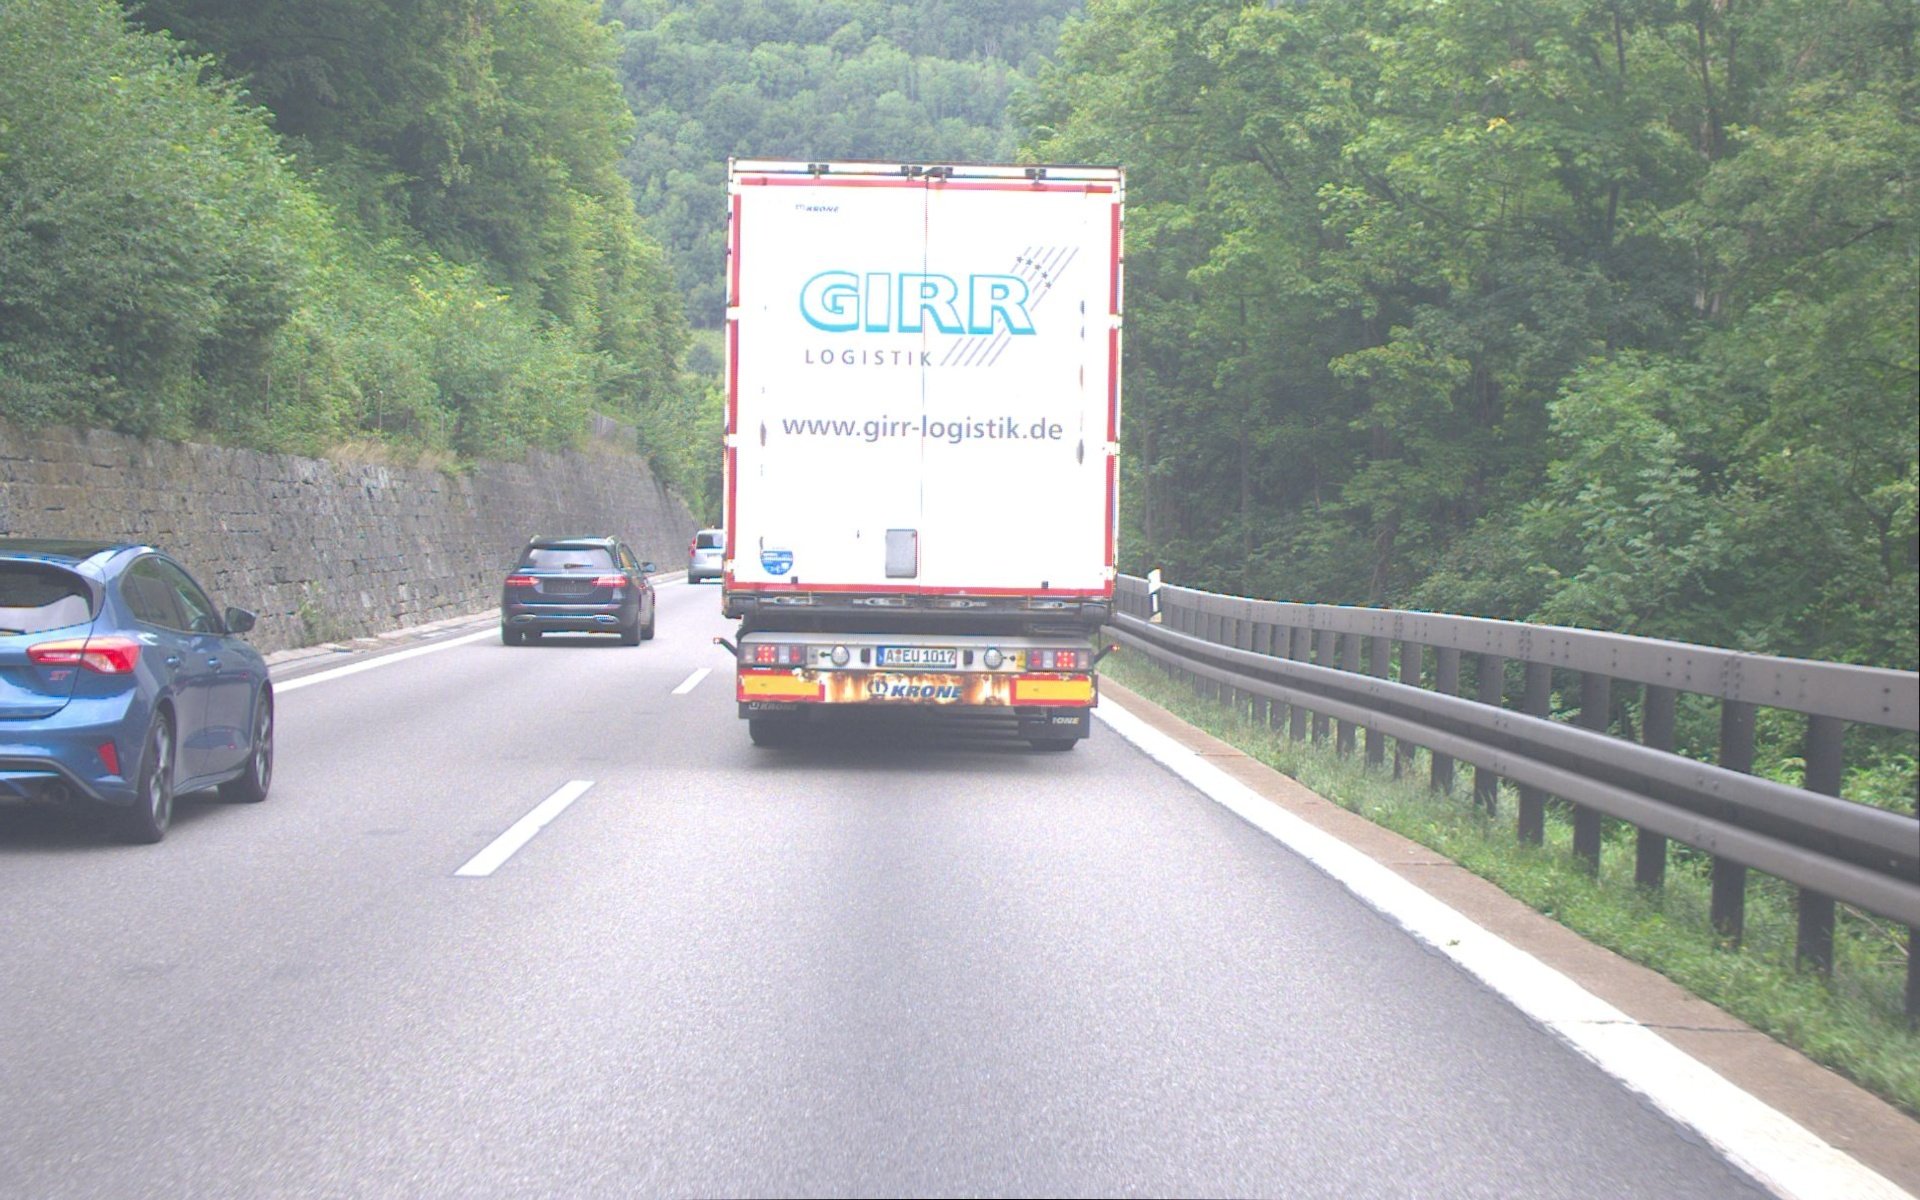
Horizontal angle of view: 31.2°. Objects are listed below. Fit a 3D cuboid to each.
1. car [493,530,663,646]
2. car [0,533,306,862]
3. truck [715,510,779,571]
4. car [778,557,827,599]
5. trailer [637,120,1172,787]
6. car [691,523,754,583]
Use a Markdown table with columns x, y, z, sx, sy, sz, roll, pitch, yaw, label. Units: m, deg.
| x | y | z | sx | sy | sz | roll | pitch | yaw | label |
| --- | --- | --- | --- | --- | --- | --- | --- | --- | --- |
| -5.198 | -0.209 | 47.393 | 1.760 | 1.458 | 5.123 | 1 | 1 | 0 | car |
| -4.670 | 0.395 | 17.690 | 1.836 | 1.464 | 4.556 | 1 | 1 | -2 | car |
| -8.500 | -2.397 | 137.708 | 2.349 | 2.266 | 6.850 | 3 | 1 | -3 | truck |
| -7.704 | -1.092 | 168.570 | 2.018 | 1.907 | 5.563 | 3 | 1 | 0 | car |
| -0.556 | -1.050 | 26.615 | 3.133 | 4.029 | 9.441 | 4 | 1 | -3 | trailer |
| -7.111 | -1.424 | 103.141 | 1.634 | 1.720 | 4.345 | 2 | 1 | -1 | car |
